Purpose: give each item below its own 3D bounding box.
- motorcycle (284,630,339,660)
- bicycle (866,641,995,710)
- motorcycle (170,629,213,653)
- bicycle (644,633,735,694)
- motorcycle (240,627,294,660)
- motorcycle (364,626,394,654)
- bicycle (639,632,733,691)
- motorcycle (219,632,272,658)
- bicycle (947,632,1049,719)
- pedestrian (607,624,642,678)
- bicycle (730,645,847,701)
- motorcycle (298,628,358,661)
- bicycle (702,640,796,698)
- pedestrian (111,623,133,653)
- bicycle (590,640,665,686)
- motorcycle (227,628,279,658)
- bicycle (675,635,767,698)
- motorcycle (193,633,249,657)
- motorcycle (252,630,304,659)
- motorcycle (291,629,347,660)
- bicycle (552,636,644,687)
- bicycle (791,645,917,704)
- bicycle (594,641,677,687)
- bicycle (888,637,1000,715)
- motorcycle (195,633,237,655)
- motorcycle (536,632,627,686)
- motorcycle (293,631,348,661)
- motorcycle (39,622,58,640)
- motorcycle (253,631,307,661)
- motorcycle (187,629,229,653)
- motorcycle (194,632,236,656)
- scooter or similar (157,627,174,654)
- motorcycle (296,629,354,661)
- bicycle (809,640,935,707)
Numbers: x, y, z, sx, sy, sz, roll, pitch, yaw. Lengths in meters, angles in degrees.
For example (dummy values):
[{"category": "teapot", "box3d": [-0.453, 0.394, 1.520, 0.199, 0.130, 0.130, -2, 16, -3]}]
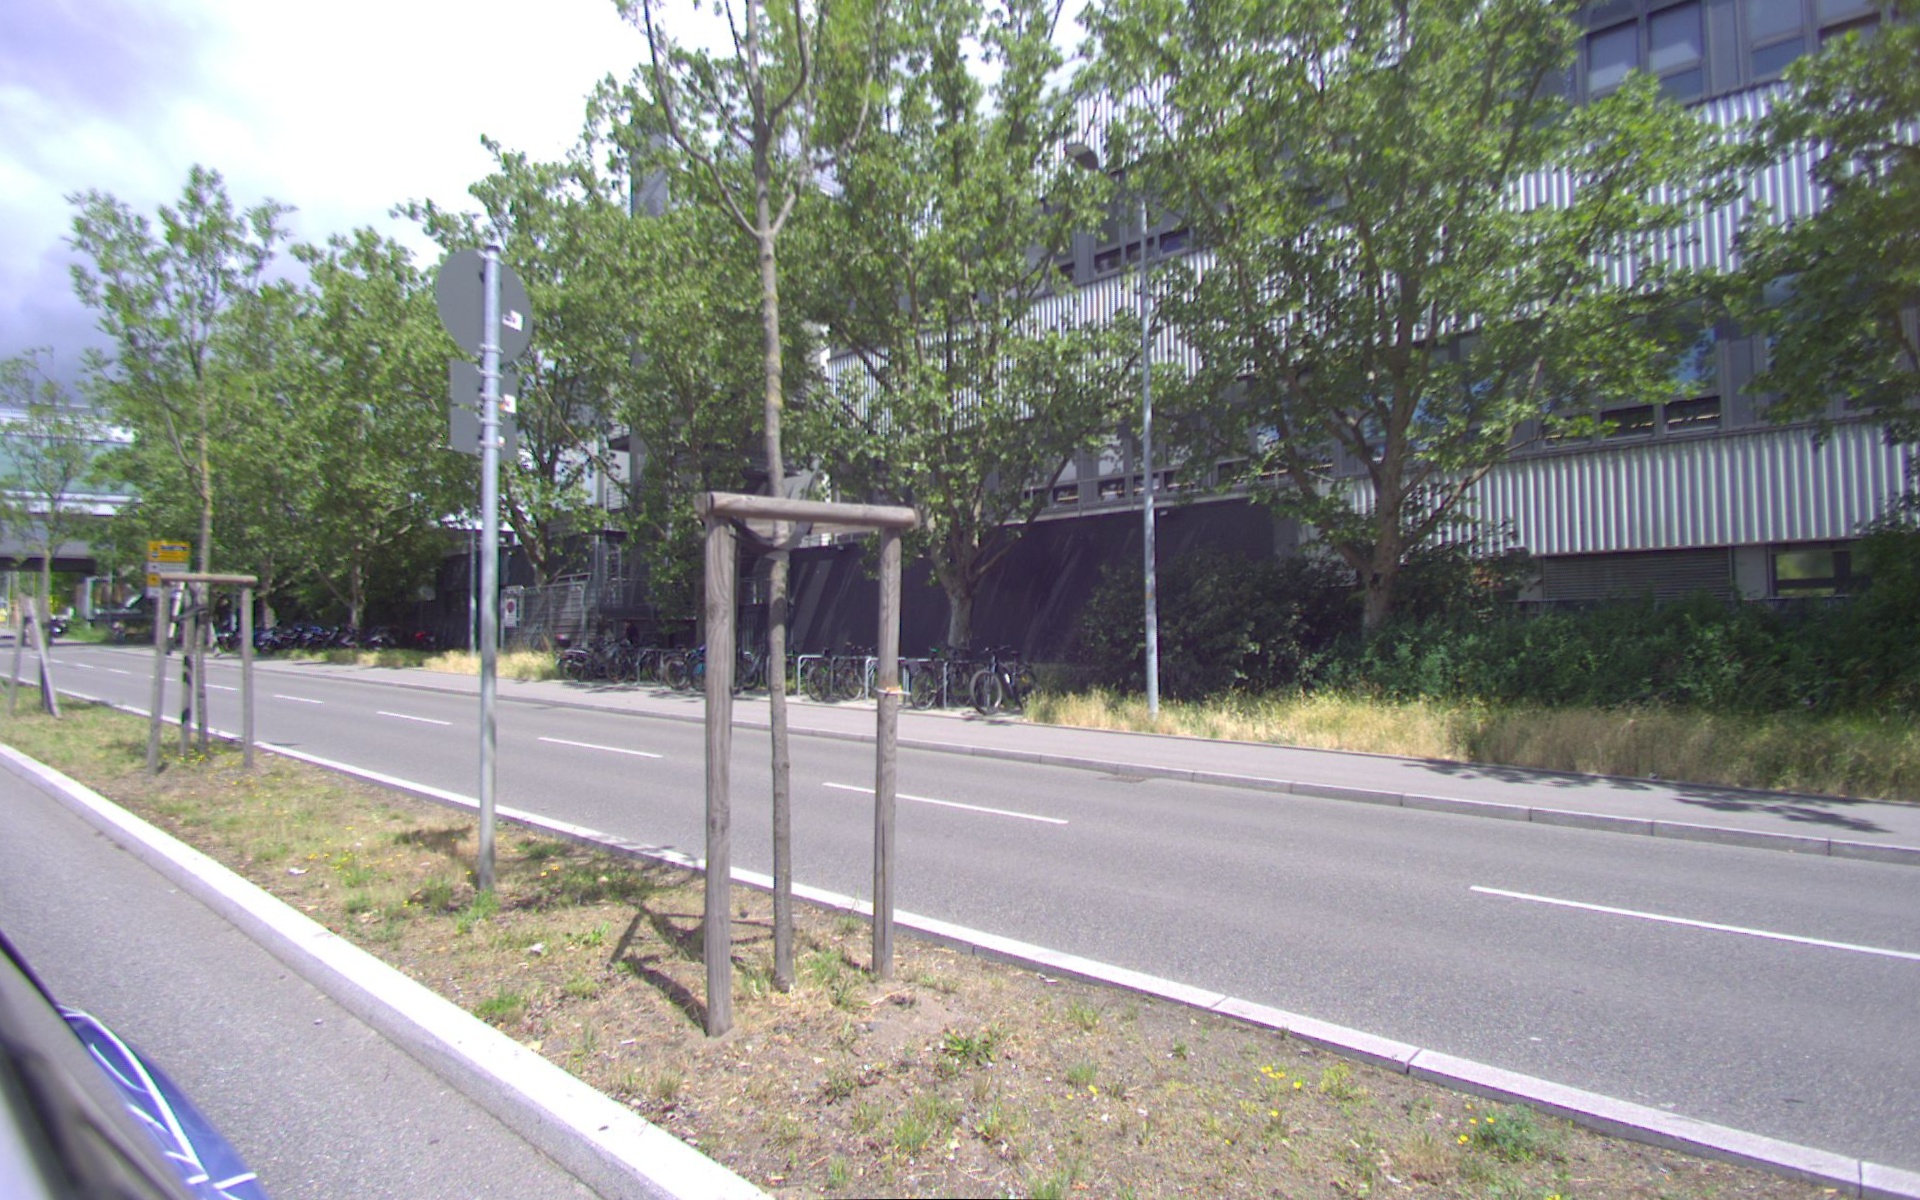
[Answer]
[{"category": "motorcycle", "box3d": [-27.827, 1.917, 43.448, 0.698, 1.188, 1.857, -3, -1, 43]}, {"category": "bicycle", "box3d": [-0.527, 1.400, 19.203, 2.533, 1.166, 0.727, 0, -1, -40]}, {"category": "motorcycle", "box3d": [-40.783, 2.153, 53.710, 1.721, 1.180, 0.777, -2, -1, -42]}, {"category": "bicycle", "box3d": [-6.130, 1.405, 22.994, 0.805, 1.292, 1.899, -1, -1, 38]}, {"category": "motorcycle", "box3d": [-31.266, 1.946, 45.660, 1.905, 1.354, 0.867, -2, -1, -30]}, {"category": "motorcycle", "box3d": [-26.488, 1.847, 46.109, 1.983, 1.219, 0.645, -3, -1, 45]}, {"category": "bicycle", "box3d": [-6.526, 1.443, 24.229, 0.805, 1.292, 2.113, -1, -1, 38]}, {"category": "motorcycle", "box3d": [-34.056, 2.131, 48.269, 1.904, 1.124, 0.924, -2, -1, -23]}, {"category": "bicycle", "box3d": [0.683, 1.248, 17.286, 0.489, 1.374, 2.144, -2, -2, 42]}, {"category": "pedestrian", "box3d": [-9.902, 1.494, 29.872, 0.744, 1.563, 0.822, 0, -2, -40]}, {"category": "bicycle", "box3d": [-3.592, 1.512, 21.533, 0.848, 1.014, 2.814, -1, -1, 31]}, {"category": "motorcycle", "box3d": [-24.509, 1.729, 39.268, 1.855, 1.182, 0.746, -2, -1, -41]}, {"category": "bicycle", "box3d": [-4.524, 1.461, 21.808, 0.805, 1.131, 1.899, -1, -1, 38]}, {"category": "pedestrian", "box3d": [-46.584, 2.081, 56.261, 0.812, 1.624, 0.760, -1, 1, 39]}, {"category": "bicycle", "box3d": [-8.404, 1.584, 25.625, 0.422, 1.083, 1.905, -1, -1, 38]}, {"category": "motorcycle", "box3d": [-33.037, 1.992, 47.318, 1.905, 1.300, 0.895, -2, -1, -30]}, {"category": "bicycle", "box3d": [-5.281, 1.434, 22.464, 0.805, 1.292, 1.899, -1, -1, 38]}, {"category": "motorcycle", "box3d": [-35.738, 2.196, 48.964, 0.917, 1.124, 1.919, 0, -3, 28]}, {"category": "motorcycle", "box3d": [-30.112, 1.959, 44.712, 1.853, 1.188, 0.817, -2, -1, -35]}, {"category": "motorcycle", "box3d": [-26.936, 1.870, 42.552, 0.655, 1.219, 1.857, -3, -1, 43]}, {"category": "bicycle", "box3d": [-9.206, 1.549, 25.826, 0.805, 1.189, 2.113, -1, -1, 38]}, {"category": "bicycle", "box3d": [-2.082, 1.451, 20.196, 2.532, 1.104, 0.697, 2, -3, -40]}, {"category": "bicycle", "box3d": [-8.081, 1.576, 25.280, 0.496, 1.070, 2.060, -1, -1, 38]}, {"category": "bicycle", "box3d": [-0.251, 1.313, 18.147, 0.555, 1.267, 2.379, -2, -2, 42]}, {"category": "motorcycle", "box3d": [-37.192, 2.193, 50.594, 0.776, 1.041, 1.574, -3, -1, 41]}, {"category": "motorcycle", "box3d": [-9.755, 1.495, 26.155, 0.805, 1.319, 2.113, -1, -1, 38]}, {"category": "motorcycle", "box3d": [-26.328, 1.884, 41.690, 1.853, 1.093, 0.796, -2, -1, -35]}, {"category": "motorcycle", "box3d": [-62.955, 2.141, 69.871, 2.255, 1.207, 0.633, 0, 1, 39]}, {"category": "motorcycle", "box3d": [-29.362, 1.973, 43.707, 1.855, 1.188, 0.816, -2, -1, -41]}, {"category": "motorcycle", "box3d": [-38.982, 2.112, 52.474, 0.773, 1.131, 1.579, -3, -1, 31]}, {"category": "motorcycle", "box3d": [-38.058, 2.224, 51.697, 0.776, 1.131, 1.574, -3, -1, 41]}, {"category": "scooter or similar", "box3d": [-39.164, 1.991, 49.891, 1.478, 1.245, 0.350, 0, 0, 40]}, {"category": "motorcycle", "box3d": [-25.582, 1.794, 40.809, 1.855, 1.195, 0.730, -2, 0, -42]}, {"category": "bicycle", "box3d": [-1.673, 1.385, 19.614, 2.533, 1.166, 0.645, 0, -1, -40]}]
